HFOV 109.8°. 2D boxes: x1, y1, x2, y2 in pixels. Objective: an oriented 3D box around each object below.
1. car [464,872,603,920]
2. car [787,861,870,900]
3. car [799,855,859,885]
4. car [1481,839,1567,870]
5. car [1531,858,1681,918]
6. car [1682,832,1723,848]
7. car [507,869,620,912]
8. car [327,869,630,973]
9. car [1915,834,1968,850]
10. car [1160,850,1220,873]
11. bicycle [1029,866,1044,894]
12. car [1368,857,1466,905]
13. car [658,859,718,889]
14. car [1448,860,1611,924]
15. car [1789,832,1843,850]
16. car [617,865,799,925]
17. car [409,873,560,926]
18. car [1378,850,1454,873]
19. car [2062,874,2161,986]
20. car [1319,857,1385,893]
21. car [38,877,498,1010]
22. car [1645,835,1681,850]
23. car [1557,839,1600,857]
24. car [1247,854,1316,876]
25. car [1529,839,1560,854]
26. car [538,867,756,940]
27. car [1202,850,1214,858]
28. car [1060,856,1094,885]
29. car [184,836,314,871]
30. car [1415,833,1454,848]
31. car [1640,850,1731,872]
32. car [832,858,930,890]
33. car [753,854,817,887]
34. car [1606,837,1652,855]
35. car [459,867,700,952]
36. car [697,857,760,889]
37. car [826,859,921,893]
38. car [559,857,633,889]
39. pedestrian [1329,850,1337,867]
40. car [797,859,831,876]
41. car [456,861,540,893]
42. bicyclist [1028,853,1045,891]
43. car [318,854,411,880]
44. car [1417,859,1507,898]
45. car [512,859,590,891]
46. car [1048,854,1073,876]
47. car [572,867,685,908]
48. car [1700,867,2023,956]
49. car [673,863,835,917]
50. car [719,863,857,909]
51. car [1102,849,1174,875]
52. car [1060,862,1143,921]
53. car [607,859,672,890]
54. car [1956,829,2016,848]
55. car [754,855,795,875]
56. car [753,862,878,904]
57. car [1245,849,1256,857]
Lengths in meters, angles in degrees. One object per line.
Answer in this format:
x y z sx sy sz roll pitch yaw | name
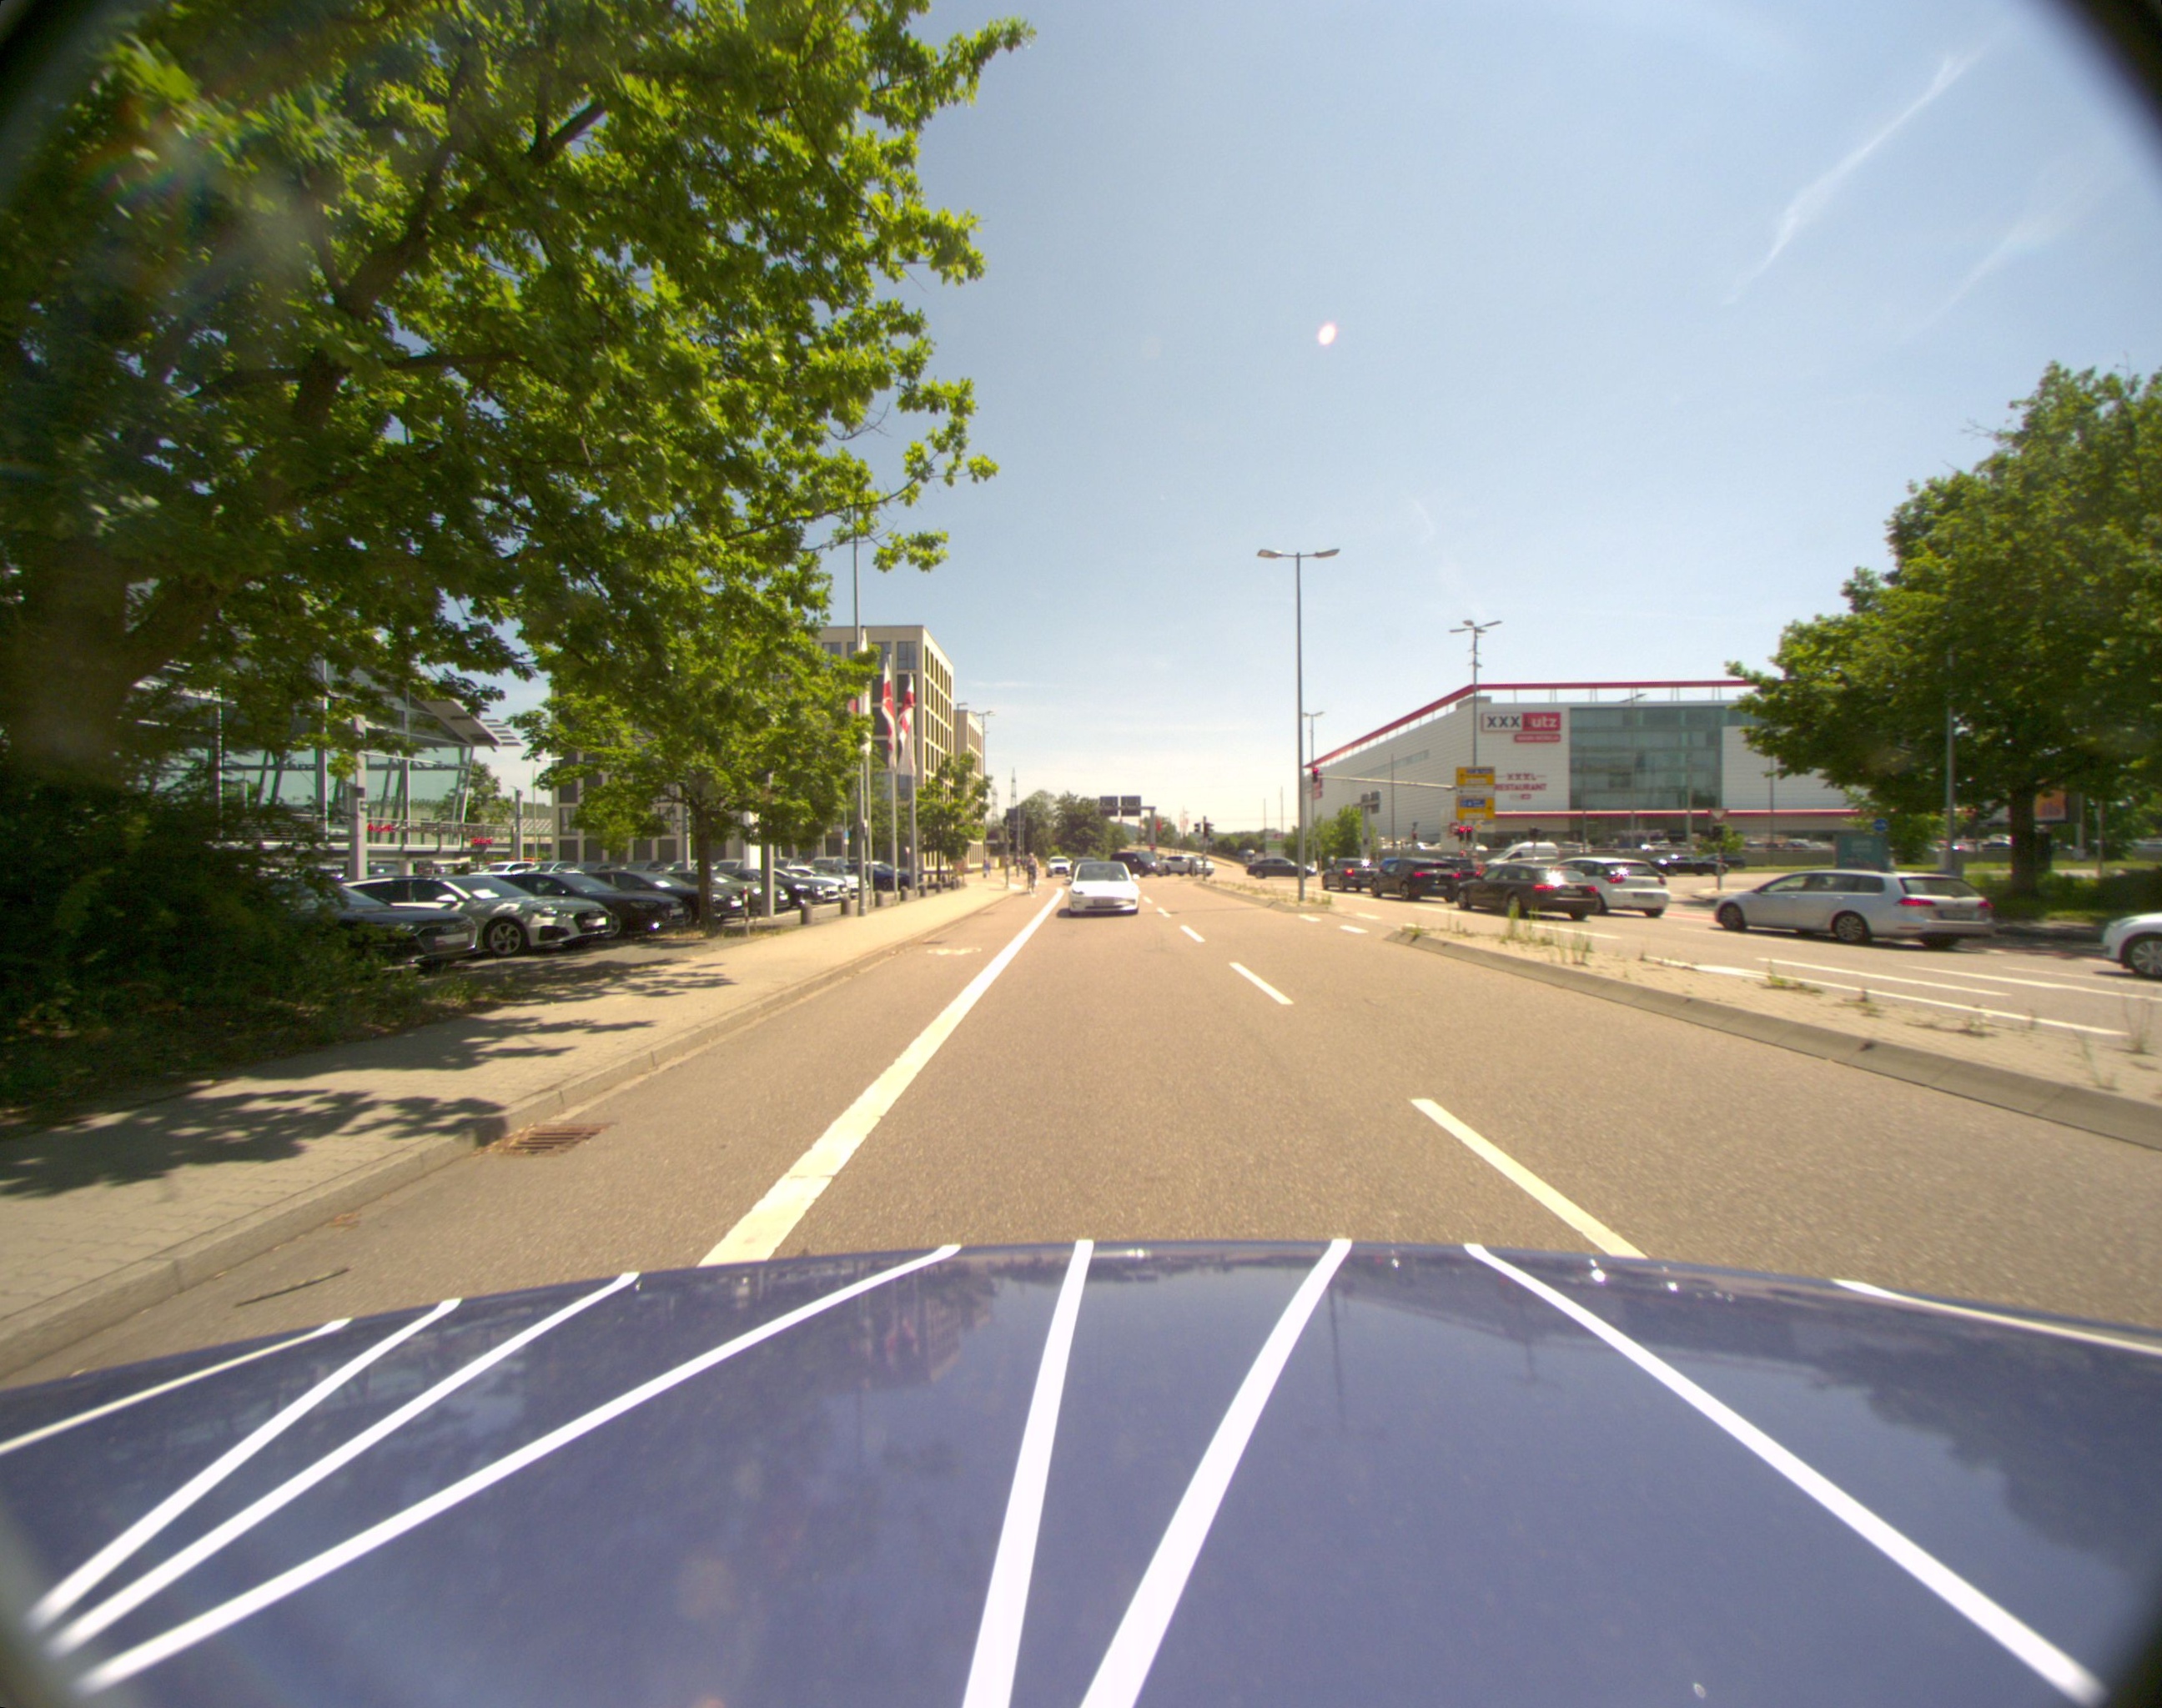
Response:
-21.184 1.600 29.528 3.995 1.589 1.850 -3 0 1 | car
-10.950 1.105 33.329 1.867 1.411 4.663 -3 0 3 | car
-14.521 0.875 44.041 1.872 1.549 4.503 0 1 2 | car
32.259 0.070 55.449 5.043 2.170 2.001 -1 0 5 | car
15.320 0.924 22.455 1.731 1.535 3.915 0 1 0 | car
80.004 -1.727 97.842 1.998 2.002 4.000 0 0 1 | car
-23.112 1.574 34.183 1.879 1.617 4.309 -3 0 4 | car
-10.205 1.090 13.097 3.690 1.445 1.834 -3 0 1 | car
96.040 -1.308 84.857 1.783 1.747 3.649 0 0 -1 | car
8.223 0.595 57.814 1.774 1.631 4.480 -2 0 -38 | car
-1.941 1.123 33.414 0.629 1.126 1.894 -1 0 -3 | bicycle
12.102 0.915 27.671 1.731 1.496 4.243 1 1 1 | car
-22.541 1.120 43.692 1.641 1.606 3.817 -1 -1 -3 | car
12.026 0.934 20.806 1.731 1.437 4.719 1 1 1 | car
83.779 -1.503 86.682 1.998 2.002 4.330 0 0 1 | car
-10.386 1.119 21.368 4.111 1.396 1.869 -3 0 1 | car
-21.204 1.596 27.095 3.995 1.612 1.657 -3 0 1 | car
22.303 0.495 50.762 4.422 1.394 1.773 -1 0 16 | car
15.130 1.060 8.796 1.731 1.437 4.451 1 1 0 | car
11.931 0.886 33.715 1.648 1.381 3.715 1 1 1 | car
-10.748 1.138 10.294 4.242 1.393 1.816 -3 0 1 | car
80.253 -1.626 104.812 1.998 2.002 4.000 0 0 1 | car
56.894 -0.709 86.951 1.999 2.002 4.328 0 0 -3 | car
13.067 0.713 49.468 4.079 1.374 1.774 0 -1 23 | car
62.314 -0.971 102.246 1.782 2.002 4.135 0 0 1 | car
-10.383 1.147 18.407 4.111 1.445 1.869 -3 0 1 | car
28.975 -0.009 173.487 1.998 1.587 4.000 -1 1 2 | car
-0.201 0.880 42.268 1.556 1.528 3.822 0 0 5 | car
-47.989 -0.013 43.918 5.249 1.955 1.913 0 0 -2 | car
47.806 -1.784 102.840 4.470 2.002 1.679 0 0 3 | car
38.836 0.447 48.875 4.462 1.396 1.677 0 0 3 | car
-10.439 1.037 39.915 4.604 1.382 1.869 -3 0 1 | car
-17.093 0.898 44.142 1.848 1.645 3.998 -3 1 4 | car
62.310 -0.898 86.484 1.999 2.002 4.328 0 0 -3 | car
-10.263 1.095 15.764 3.690 1.445 1.834 -3 0 1 | car
-20.227 1.058 43.751 1.849 1.645 3.997 -3 0 -3 | car
-10.165 1.064 37.461 4.106 1.382 1.869 -3 0 1 | car
-27.957 1.074 43.951 1.849 1.645 3.997 -3 0 -3 | car
25.933 0.478 78.328 0.604 1.773 0.827 0 0 5 | pedestrian
-25.248 1.260 71.789 1.703 1.424 3.988 -1 1 -39 | car
-33.609 1.278 43.967 1.849 1.645 3.997 -3 0 -3 | car
-1.949 0.786 33.327 0.629 1.596 0.825 -2 0 -2 | bicyclist
-47.828 0.831 50.786 4.584 1.684 1.914 0 0 4 | car
15.407 0.948 30.949 1.664 1.416 4.038 0 1 0 | car
-30.837 1.195 44.335 1.849 1.645 3.997 -3 0 -3 | car
-1.666 0.855 60.335 1.799 1.728 3.819 0 0 -4 | car
-20.035 1.453 33.928 1.879 1.507 4.716 -3 0 4 | car
15.278 1.026 15.351 1.750 1.414 4.623 1 0 0 | car
-10.274 1.111 24.094 4.236 1.382 1.869 -3 0 1 | car
-10.286 1.120 26.897 4.109 1.341 1.869 -3 0 1 | car
4.129 0.564 55.956 5.107 1.811 2.004 -1 0 42 | car
0.485 0.982 21.741 1.824 1.427 4.282 -2 0 -5 | car
-25.441 1.131 43.915 1.633 1.645 3.910 -1 0 -3 | car
101.252 -1.714 85.074 1.998 2.002 4.000 0 0 1 | car
-28.954 1.053 71.692 1.924 1.875 4.919 -1 0 -44 | car
-10.225 1.112 29.495 4.106 1.356 1.874 -3 0 1 | car
49.399 -0.212 221.562 2.191 2.269 4.815 0 0 4 | car
